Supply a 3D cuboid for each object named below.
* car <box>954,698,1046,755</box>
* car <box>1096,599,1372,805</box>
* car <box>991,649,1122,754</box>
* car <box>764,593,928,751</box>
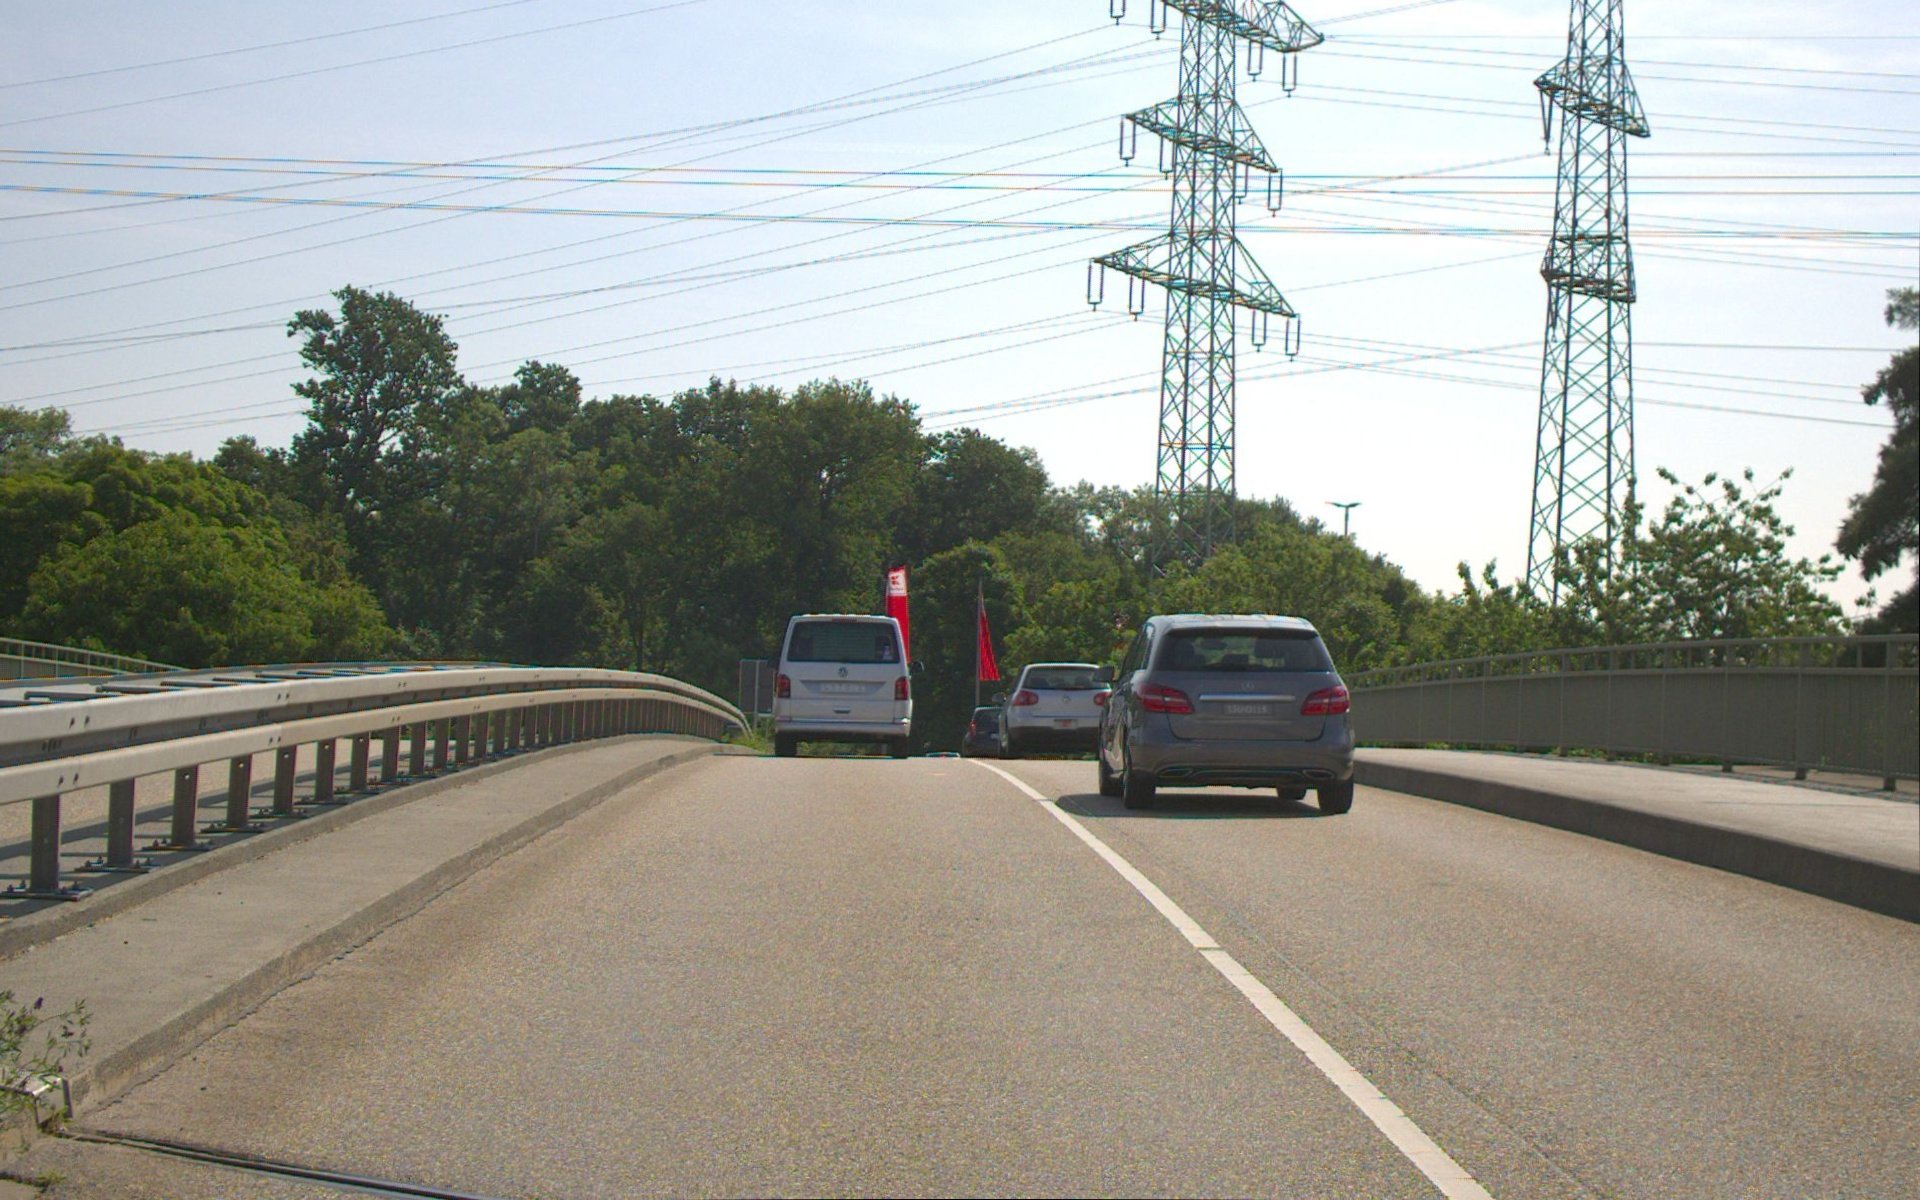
[{"bbox_3d":[0.991,3.068,83.204,1.774,1.327,3.738,0,-3,8],"label":"car"},{"bbox_3d":[2.147,0.770,28.019,1.856,1.524,4.144,0,0,-1],"label":"car"},{"bbox_3d":[1.434,1.566,52.703,1.856,1.524,4.143,0,-2,0],"label":"car"},{"bbox_3d":[-1.548,0.988,48.123,2.039,2.007,4.000,3,-1,0],"label":"car"}]
